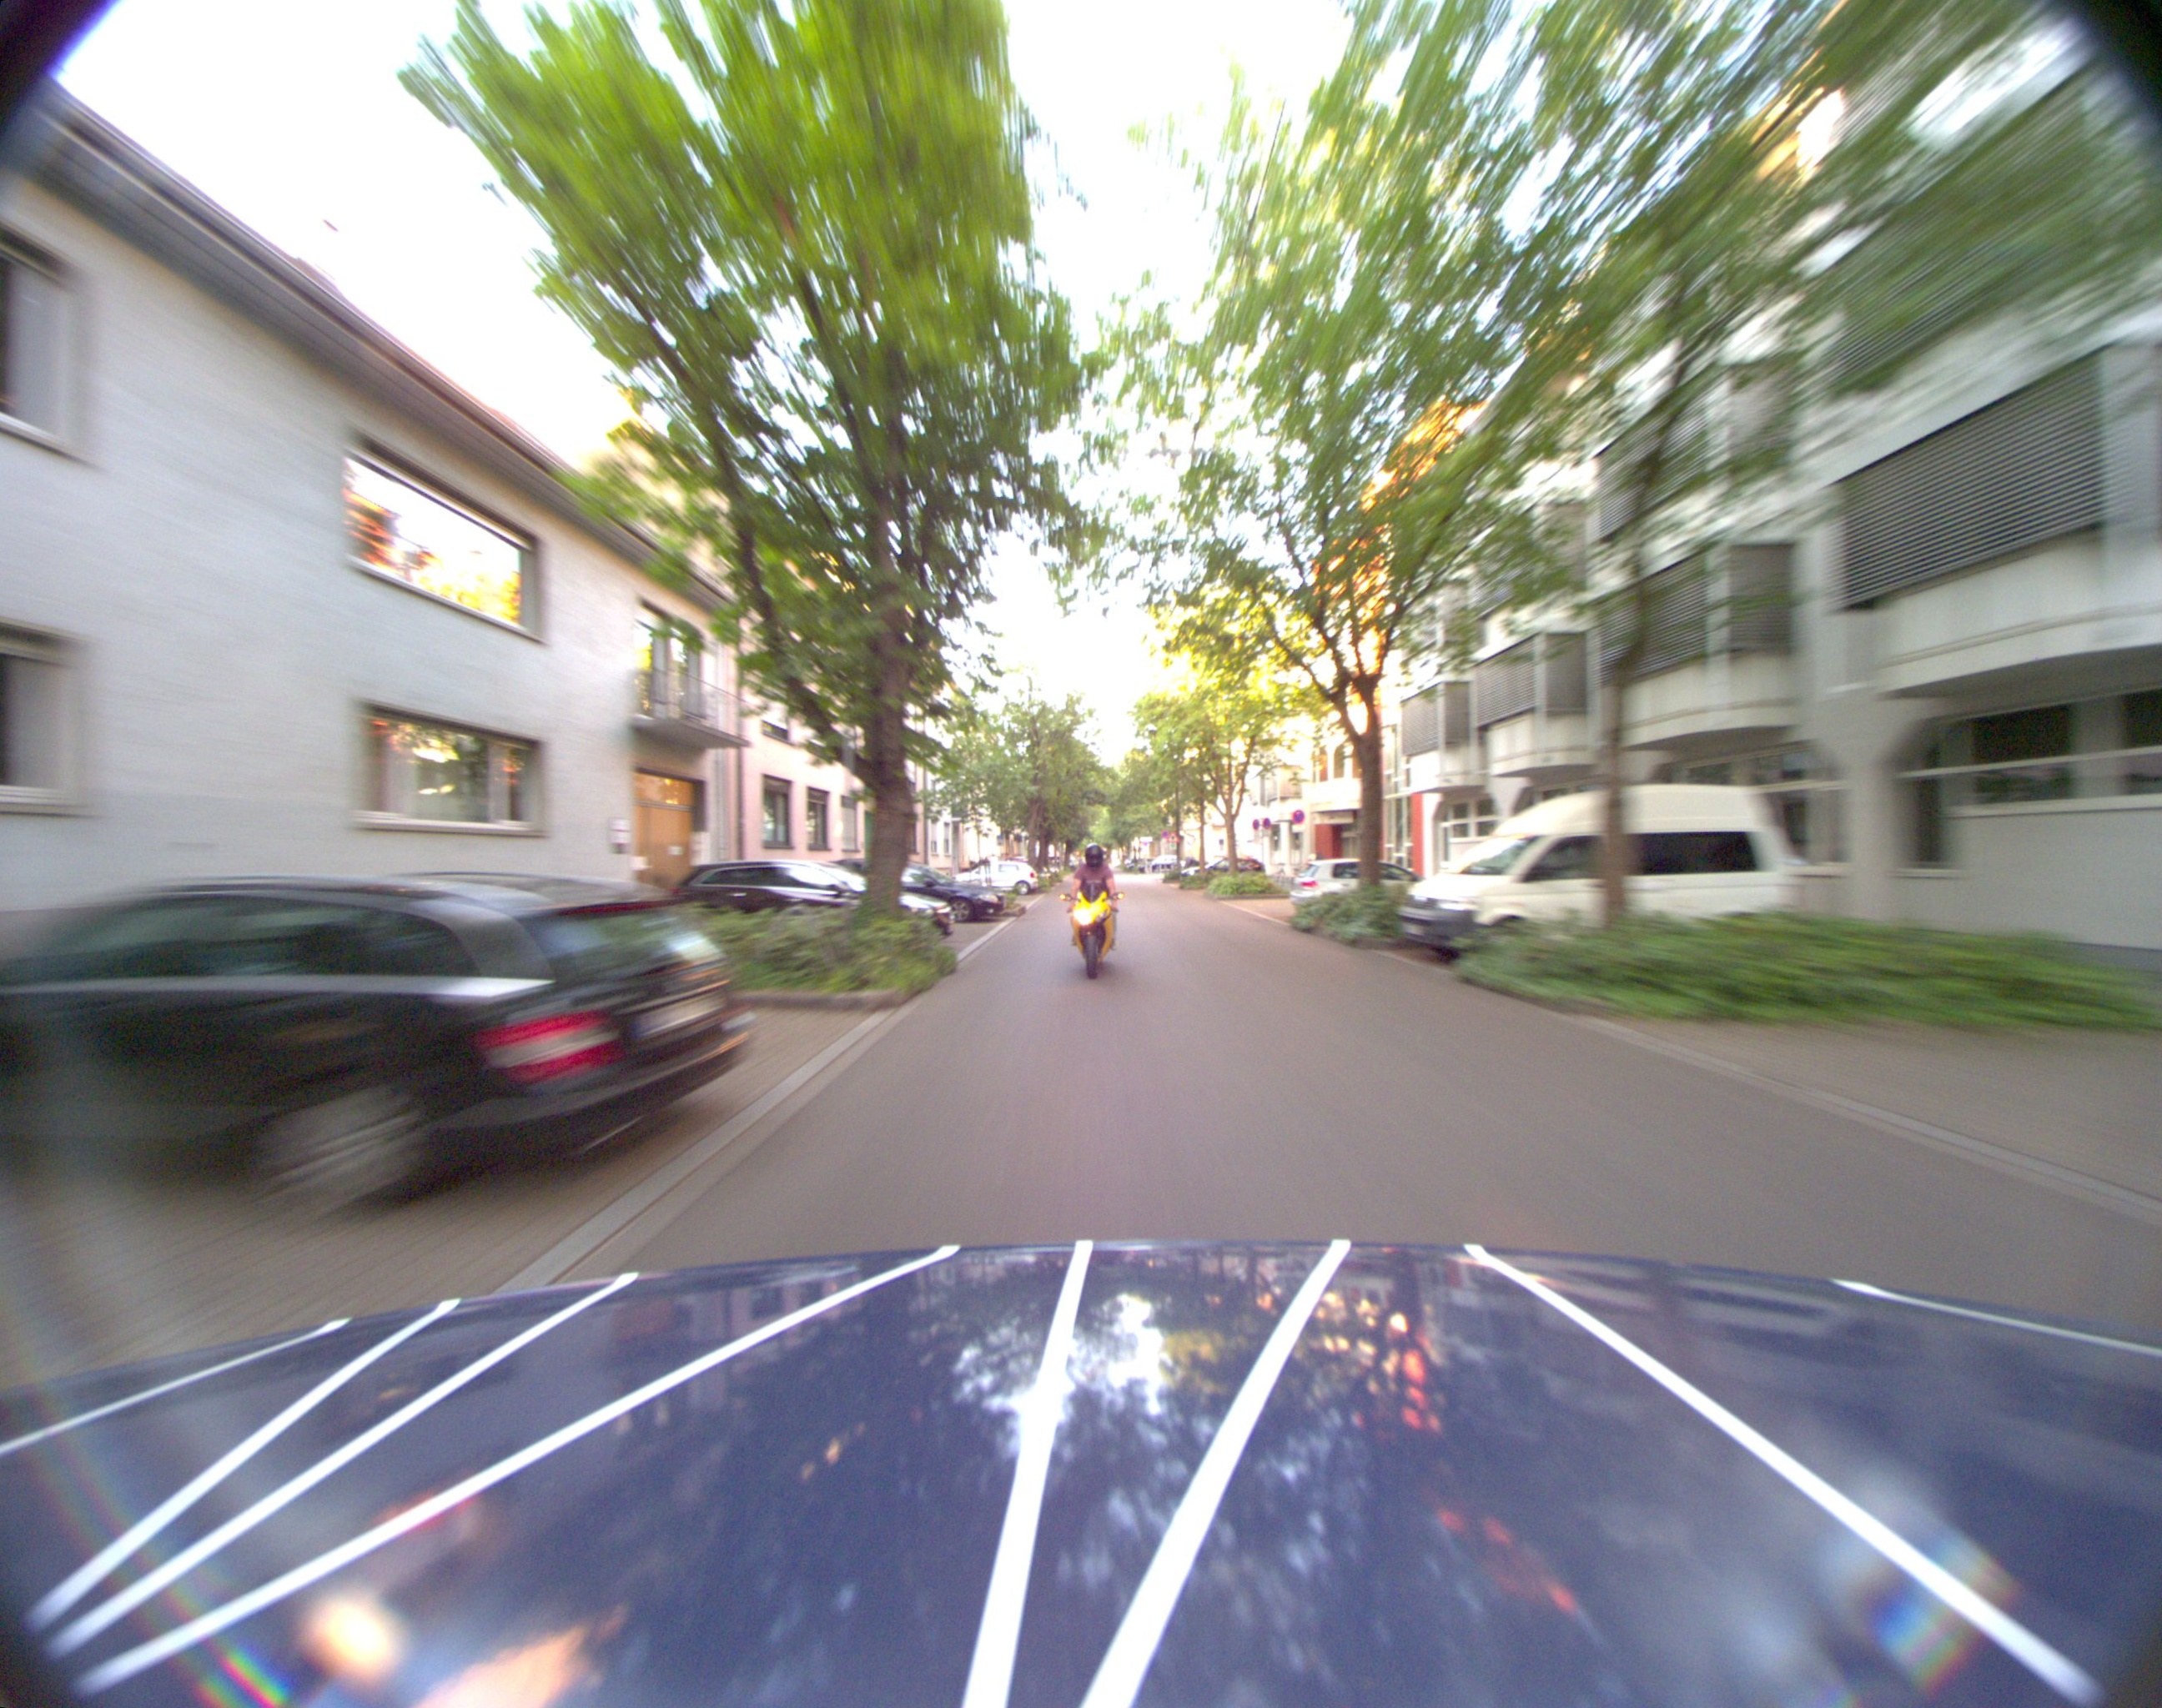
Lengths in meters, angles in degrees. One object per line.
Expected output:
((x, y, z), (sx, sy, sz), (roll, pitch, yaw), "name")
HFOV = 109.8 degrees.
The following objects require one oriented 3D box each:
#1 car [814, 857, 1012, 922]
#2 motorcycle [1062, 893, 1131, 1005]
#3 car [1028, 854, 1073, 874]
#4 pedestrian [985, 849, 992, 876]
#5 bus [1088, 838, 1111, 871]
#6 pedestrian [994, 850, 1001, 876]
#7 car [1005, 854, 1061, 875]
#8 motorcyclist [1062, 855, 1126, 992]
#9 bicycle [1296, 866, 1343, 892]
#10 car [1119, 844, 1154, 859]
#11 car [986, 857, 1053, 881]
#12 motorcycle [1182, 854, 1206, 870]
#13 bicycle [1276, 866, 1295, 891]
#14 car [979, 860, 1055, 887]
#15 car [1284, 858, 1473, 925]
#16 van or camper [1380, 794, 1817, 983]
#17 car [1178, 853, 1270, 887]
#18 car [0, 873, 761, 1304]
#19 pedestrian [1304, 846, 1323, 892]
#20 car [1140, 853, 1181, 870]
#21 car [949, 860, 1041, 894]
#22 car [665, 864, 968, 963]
((-4.179, 0.860, 19.350), (4.594, 1.461, 1.696), (1, 0, 2), "car")
((0.144, 1.098, 9.394), (0.736, 1.115, 2.108), (-1, 0, -2), "motorcycle")
((-2.723, 0.891, 68.728), (3.998, 1.752, 2.000), (0, 0, -2), "car")
((-7.009, 0.645, 57.673), (0.449, 2.002, 0.485), (0, 1, 1), "pedestrian")
((2.358, 0.008, 98.022), (2.833, 4.085, 7.831), (0, 0, 1), "bus")
((-6.361, 0.688, 57.725), (0.449, 2.002, 0.485), (0, 1, 1), "pedestrian")
((-3.443, 0.739, 54.863), (3.858, 1.390, 1.675), (1, 0, 1), "car")
((0.144, 0.825, 9.419), (0.722, 1.605, 0.915), (-1, 1, -2), "motorcyclist")
((9.371, 0.959, 29.920), (0.456, 0.981, 1.750), (-1, 1, -43), "bicycle")
((6.628, -0.262, 90.594), (3.998, 1.752, 2.000), (0, 0, -2), "car")
((-3.710, 0.908, 46.250), (3.858, 1.390, 1.675), (1, 0, 1), "car")
((8.286, 0.587, 55.650), (1.626, 1.136, 0.572), (-3, 1, 3), "motorcycle")
((8.442, 0.989, 31.356), (0.454, 0.981, 1.758), (0, 0, 25), "bicycle")
((-3.419, 1.038, 41.194), (3.857, 1.390, 1.675), (1, 0, 4), "car")
((7.298, 0.908, 18.920), (4.063, 1.519, 1.622), (-1, 0, 4), "car")
((7.014, 0.446, 10.726), (4.829, 2.413, 1.945), (0, 0, 1), "van or camper")
((7.451, 0.831, 39.798), (4.475, 1.748, 1.791), (0, 0, -3), "car")
((-4.242, 0.934, 4.005), (4.366, 1.461, 1.732), (2, 0, 6), "car")
((9.037, 0.580, 29.553), (0.637, 1.734, 0.679), (0, 1, 10), "pedestrian")
((7.784, 0.739, 74.867), (3.858, 1.623, 1.675), (1, 0, 1), "car")
((-3.679, 0.980, 33.147), (3.859, 1.390, 1.674), (1, 0, -3), "car")
((-4.330, 0.952, 12.954), (4.456, 1.515, 1.952), (0, 0, 2), "car")
